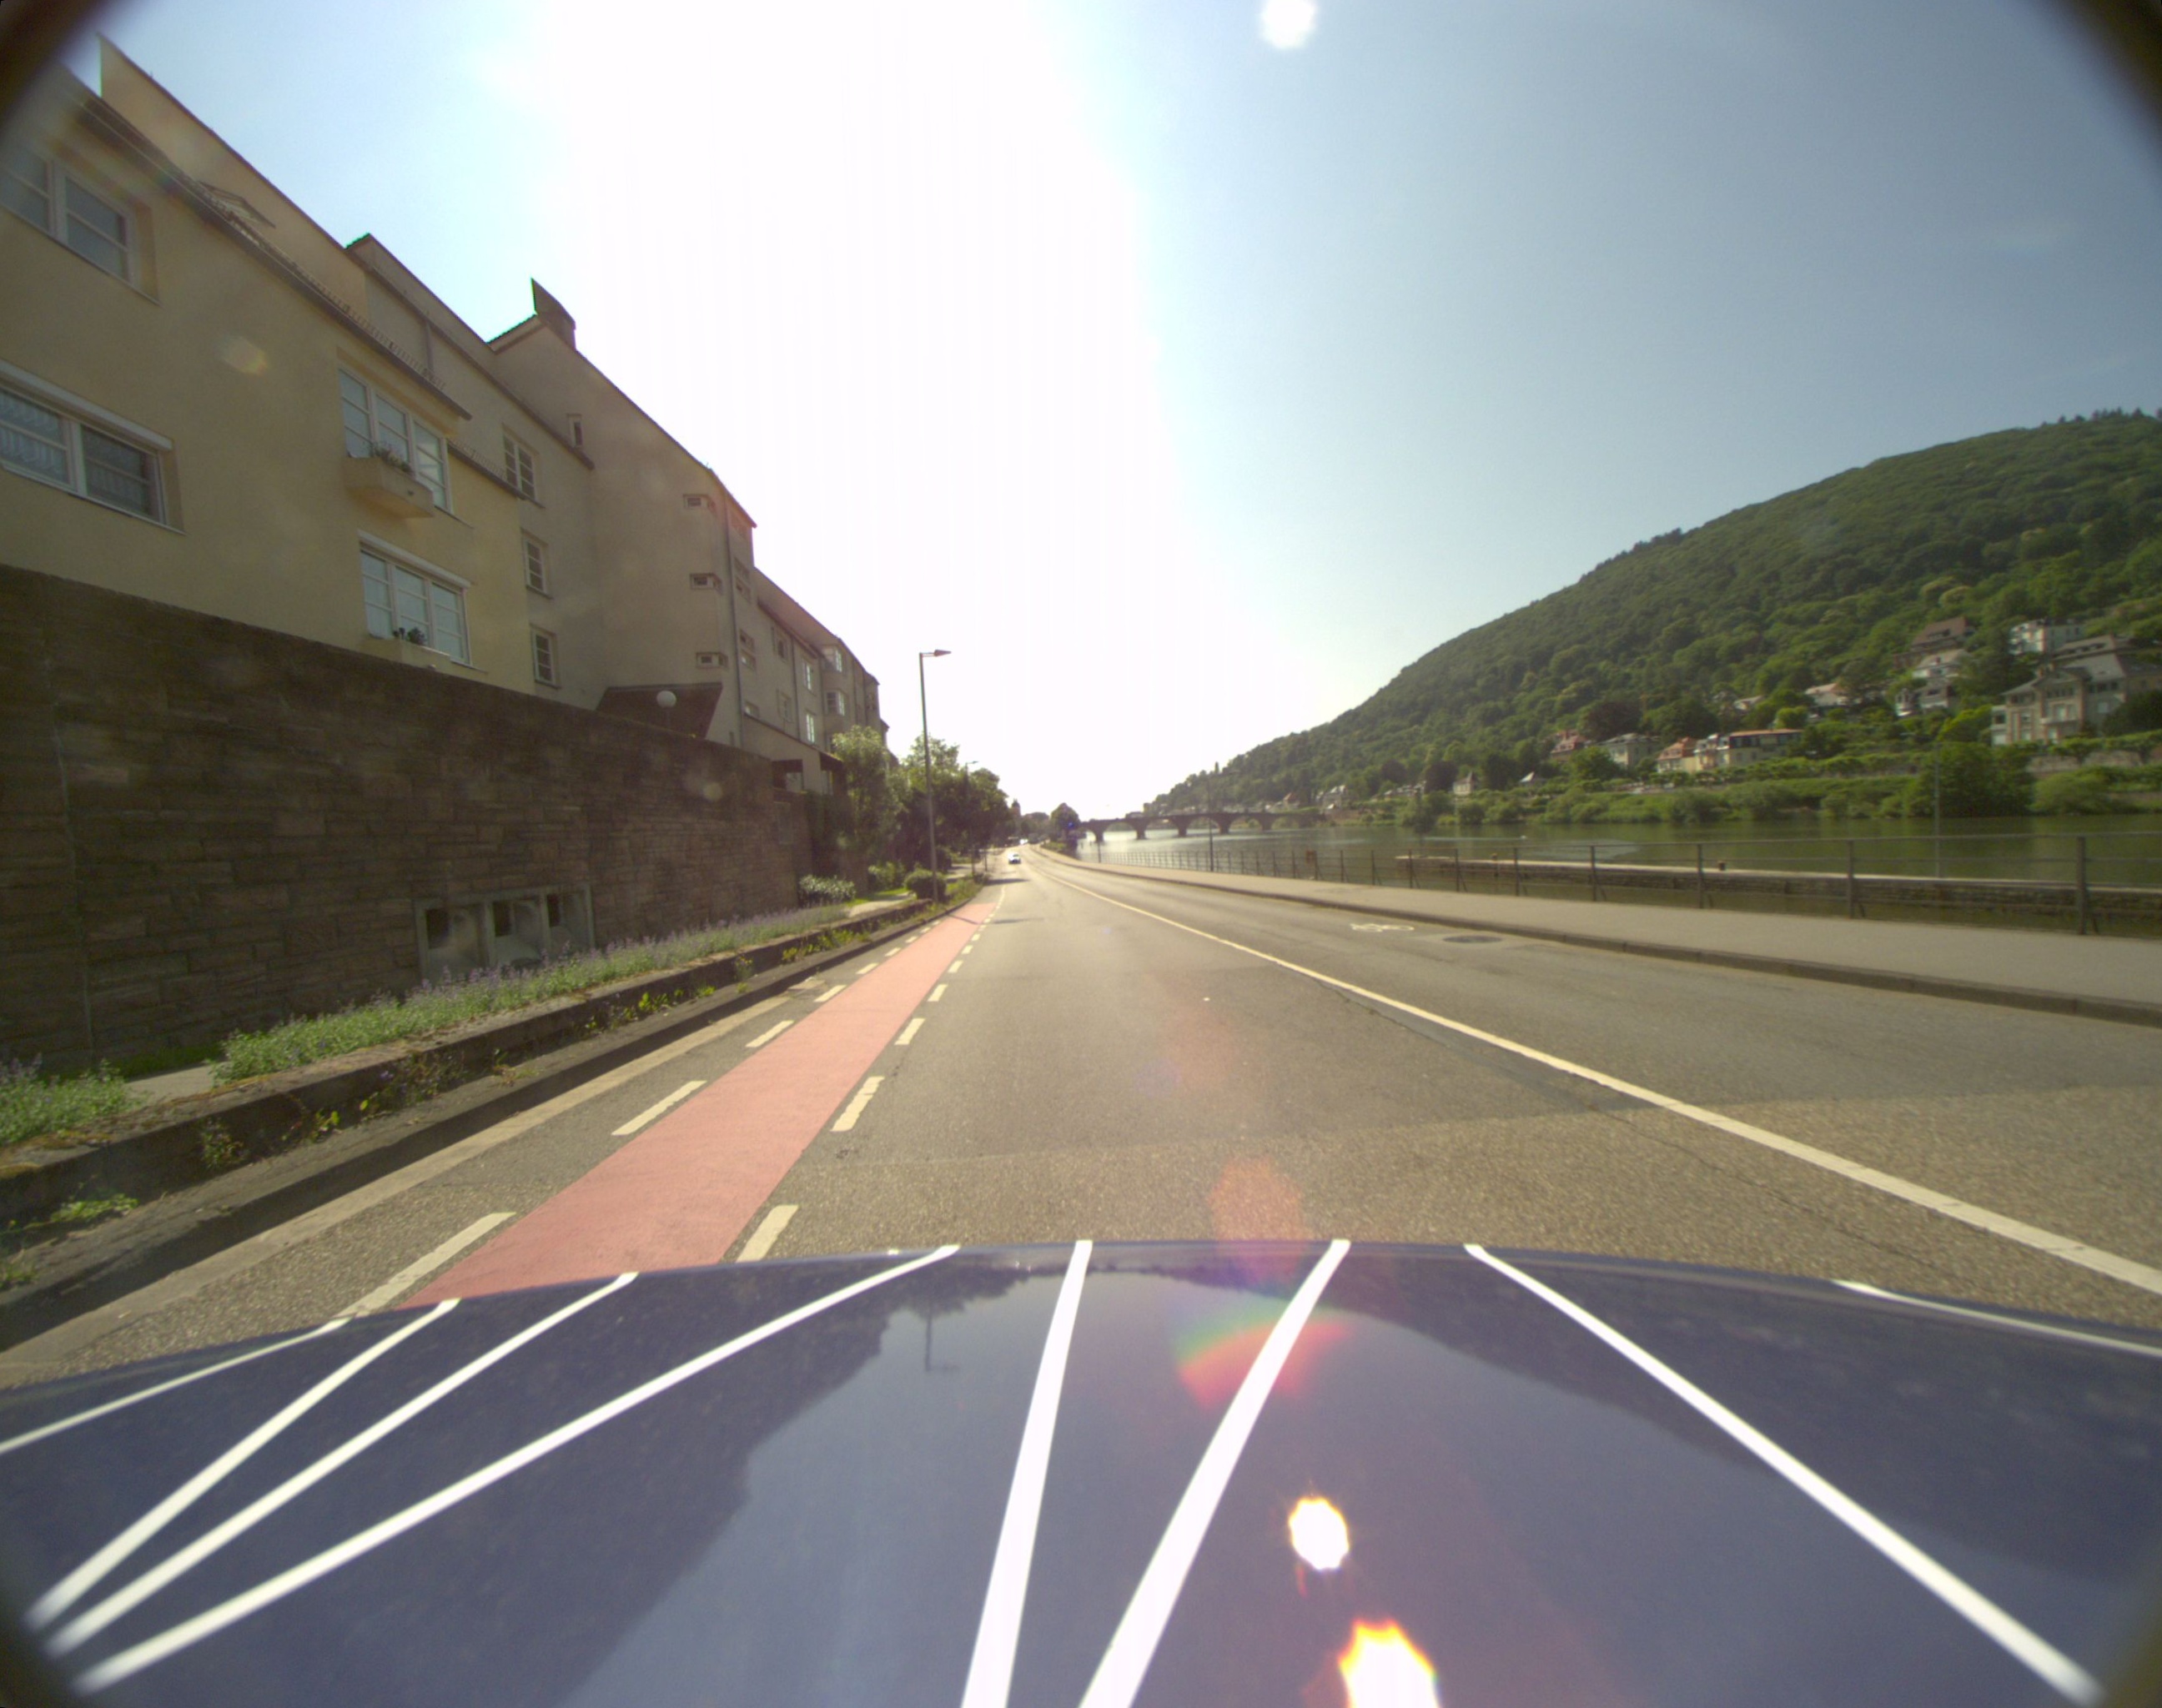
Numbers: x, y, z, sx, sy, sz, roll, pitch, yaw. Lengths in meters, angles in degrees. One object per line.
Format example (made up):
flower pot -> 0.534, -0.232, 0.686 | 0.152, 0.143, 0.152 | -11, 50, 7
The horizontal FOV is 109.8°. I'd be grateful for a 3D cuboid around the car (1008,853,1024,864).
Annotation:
car -> -9.307, 0.688, 109.007 | 1.999, 1.434, 3.998 | -3, 1, -3
